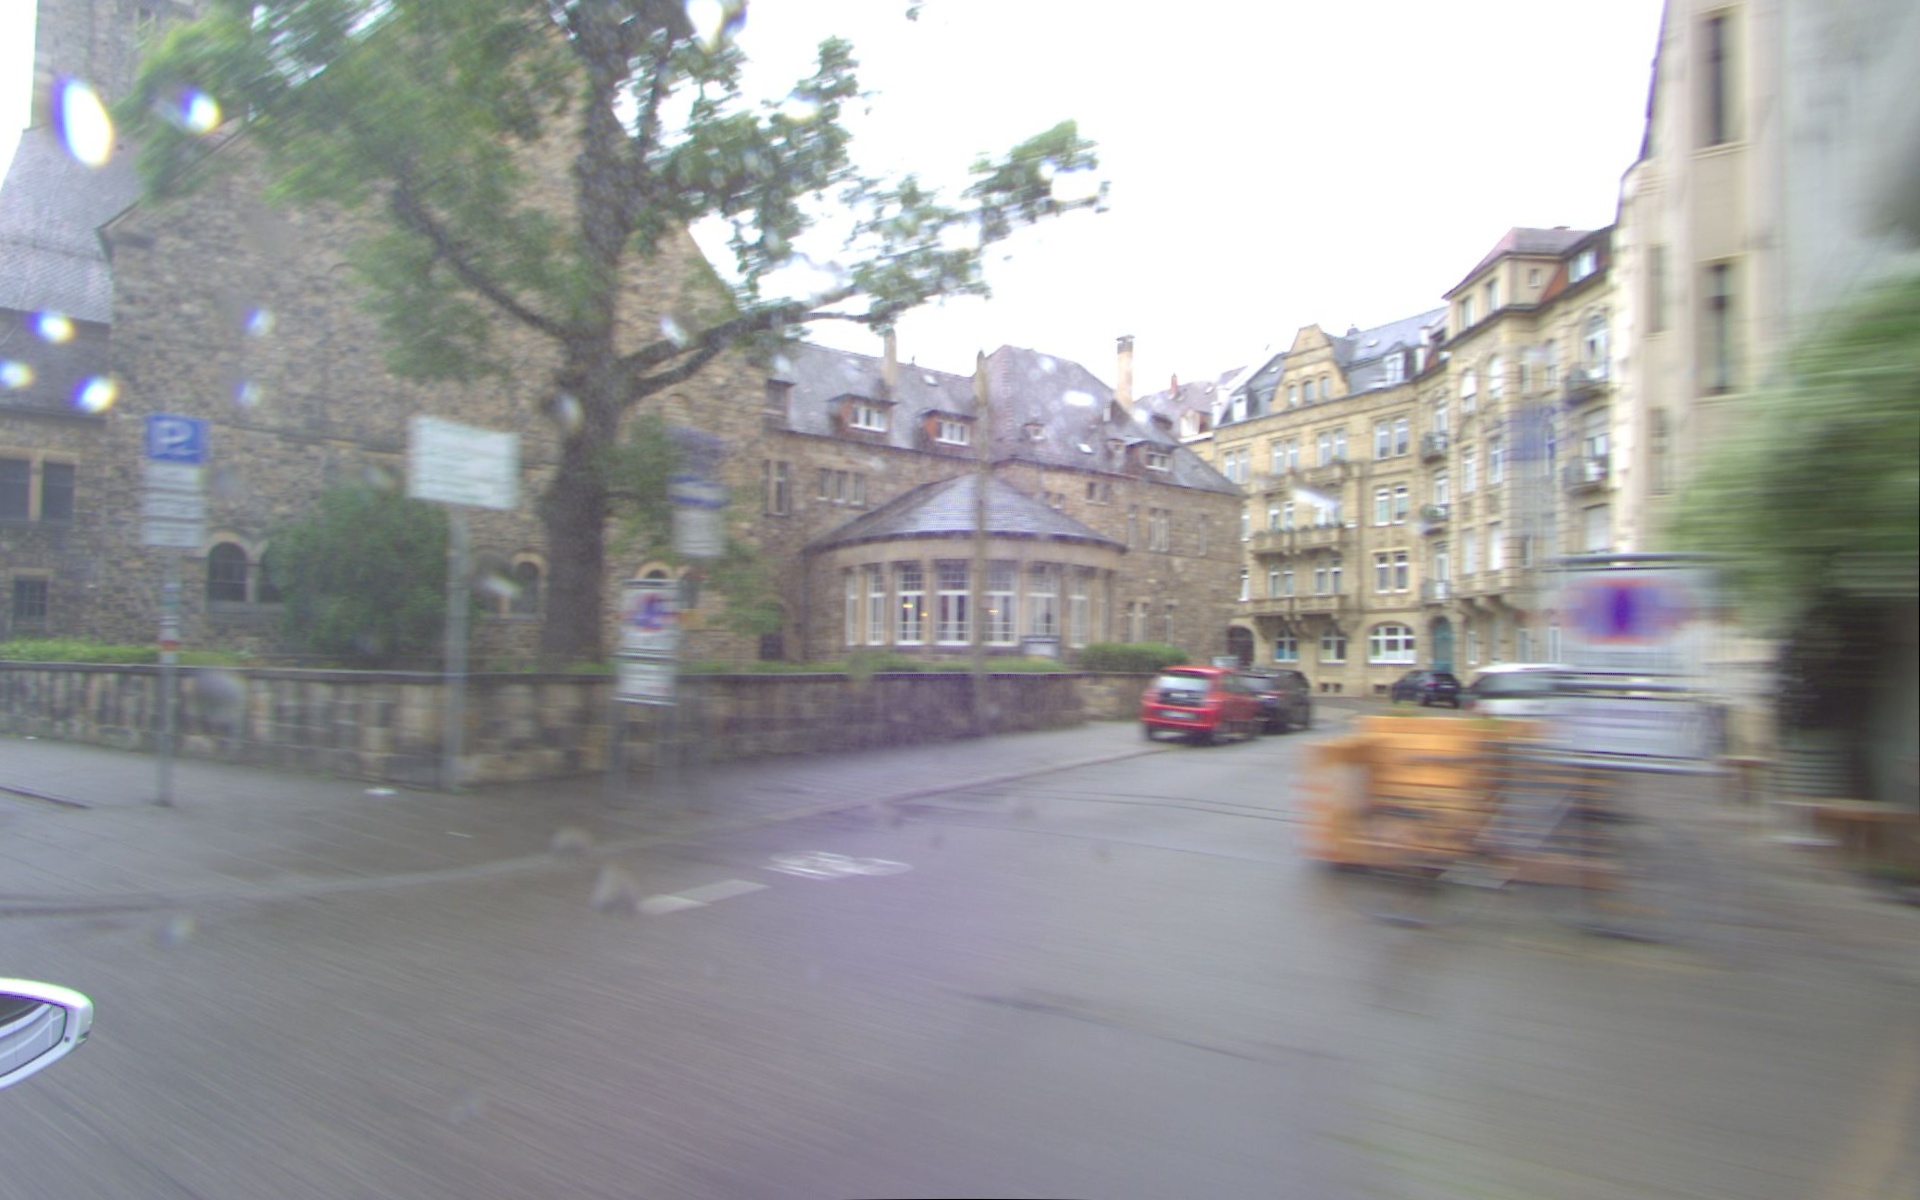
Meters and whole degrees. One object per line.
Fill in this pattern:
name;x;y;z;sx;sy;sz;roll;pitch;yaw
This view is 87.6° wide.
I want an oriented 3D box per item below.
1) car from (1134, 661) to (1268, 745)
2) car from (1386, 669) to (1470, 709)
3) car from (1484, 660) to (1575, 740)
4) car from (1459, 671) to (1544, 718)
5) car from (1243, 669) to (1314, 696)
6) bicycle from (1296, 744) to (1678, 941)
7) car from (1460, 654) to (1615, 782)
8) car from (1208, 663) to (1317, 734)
car;5.262;2.144;21.564;1.690;1.575;3.837;1;-3;32
car;21.008;3.961;45.157;1.682;1.575;4.145;2;-2;-2
car;14.119;2.409;24.840;1.788;1.800;3.839;-2;-4;30
car;20.910;3.597;38.842;1.682;1.575;4.246;1;-3;11
car;17.696;4.566;55.745;1.695;1.342;3.391;3;-3;-36
bicycle;3.043;1.369;5.951;1.893;0.990;0.451;-5;-5;31
car;8.972;1.772;15.676;1.788;1.718;3.840;-4;-5;29
car;7.771;2.435;25.515;1.690;1.575;3.958;1;-3;32
